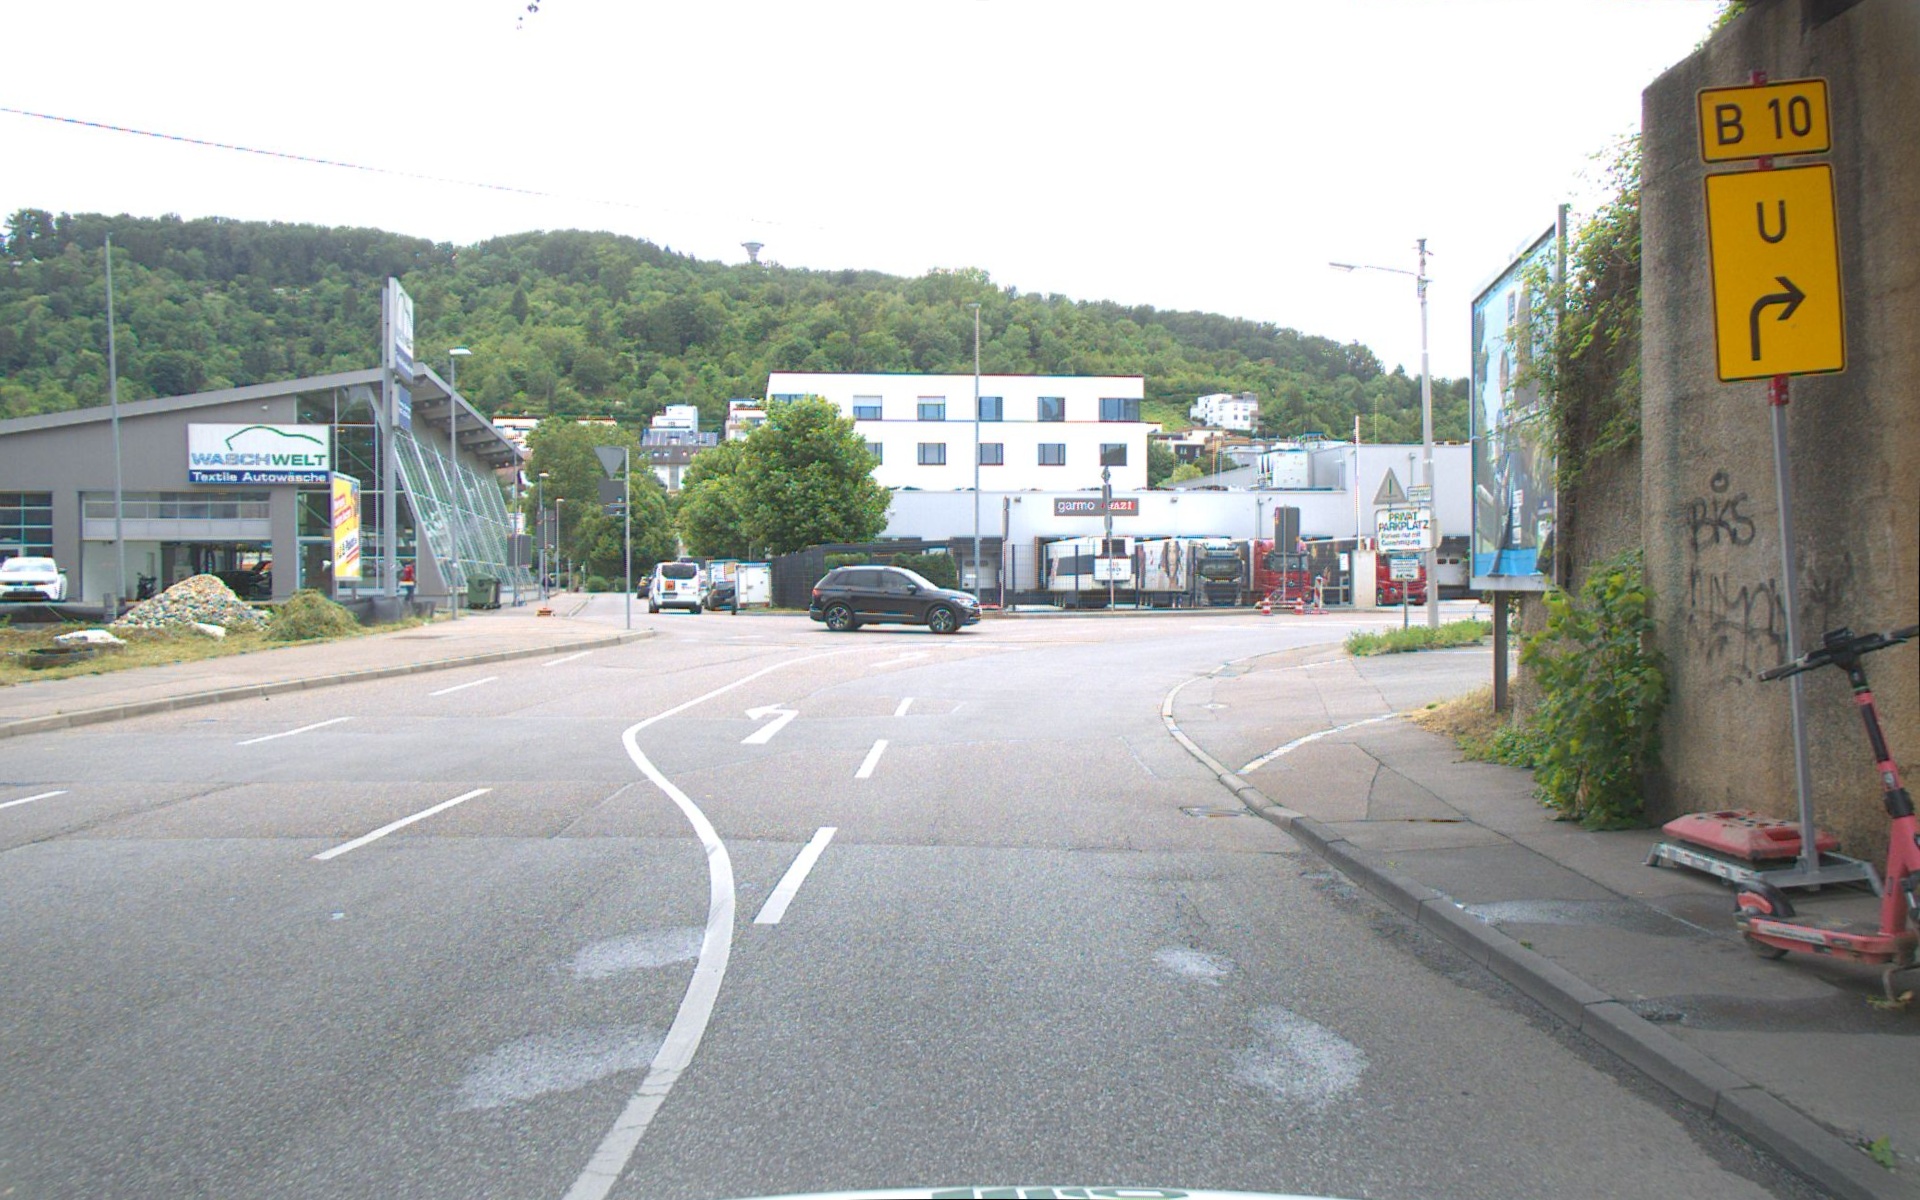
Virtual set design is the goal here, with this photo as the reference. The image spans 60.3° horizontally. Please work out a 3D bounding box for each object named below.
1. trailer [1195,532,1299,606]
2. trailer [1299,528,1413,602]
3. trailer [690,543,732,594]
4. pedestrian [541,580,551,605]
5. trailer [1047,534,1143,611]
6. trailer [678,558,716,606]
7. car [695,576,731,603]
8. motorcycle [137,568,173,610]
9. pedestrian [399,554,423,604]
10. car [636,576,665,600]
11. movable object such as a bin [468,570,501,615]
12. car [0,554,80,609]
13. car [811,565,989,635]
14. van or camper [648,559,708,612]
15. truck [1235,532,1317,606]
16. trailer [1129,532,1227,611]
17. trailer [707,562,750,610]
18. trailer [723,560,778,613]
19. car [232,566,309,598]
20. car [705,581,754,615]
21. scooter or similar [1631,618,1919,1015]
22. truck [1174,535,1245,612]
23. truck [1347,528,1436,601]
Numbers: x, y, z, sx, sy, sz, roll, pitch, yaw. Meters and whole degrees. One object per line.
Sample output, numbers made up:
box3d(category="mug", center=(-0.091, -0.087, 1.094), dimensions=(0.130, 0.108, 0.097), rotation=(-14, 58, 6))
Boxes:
box3d(category="trailer", center=(16.720, -1.739, 97.342), dimensions=(2.731, 4.149, 10.974), rotation=(0, 0, -9))
box3d(category="trailer", center=(23.415, -1.987, 98.508), dimensions=(2.731, 4.149, 10.974), rotation=(0, 0, -9))
box3d(category="trailer", center=(-19.262, -2.402, 127.541), dimensions=(3.013, 3.825, 4.921), rotation=(0, 1, -11))
box3d(category="pedestrian", center=(-27.815, -0.486, 111.152), dimensions=(0.617, 1.702, 0.755), rotation=(0, 0, -15))
box3d(category="trailer", center=(7.666, -1.515, 95.719), dimensions=(3.024, 4.149, 11.387), rotation=(0, 0, -9))
box3d(category="trailer", center=(-16.775, -1.134, 105.300), dimensions=(2.238, 3.004, 3.990), rotation=(0, 1, -11))
box3d(category="car", center=(-14.156, -0.620, 94.722), dimensions=(1.957, 1.534, 3.992), rotation=(0, 1, -9))
box3d(category="motorcycle", center=(-33.611, -0.451, 69.078), dimensions=(0.825, 1.740, 2.356), rotation=(0, 0, -13))
box3d(category="pedestrian", center=(-21.034, -0.807, 63.355), dimensions=(0.814, 1.900, 0.713), rotation=(-1, 1, -23))
box3d(category="car", center=(-23.245, -0.902, 124.361), dimensions=(1.956, 1.713, 3.992), rotation=(0, 0, -9))
box3d(category="movable object such as a bin", center=(-19.164, -0.315, 66.699), dimensions=(1.121, 1.788, 1.057), rotation=(0, 0, -9))
box3d(category="car", center=(-27.135, -0.536, 48.655), dimensions=(1.968, 1.562, 3.968), rotation=(0, 0, -25))
box3d(category="car", center=(-1.498, -0.001, 42.384), dimensions=(4.264, 1.713, 2.002), rotation=(0, 0, 8))
box3d(category="van or camper", center=(-11.606, -0.575, 67.784), dimensions=(2.064, 2.119, 4.188), rotation=(0, 0, -15))
box3d(category="truck", center=(17.534, -1.665, 92.057), dimensions=(2.741, 3.997, 5.914), rotation=(0, 0, -8))
box3d(category="trailer", center=(12.648, -1.587, 97.114), dimensions=(2.731, 4.376, 11.160), rotation=(0, 0, -9))
box3d(category="trailer", center=(-11.726, -0.712, 83.749), dimensions=(1.958, 2.384, 3.990), rotation=(0, 1, -11))
box3d(category="trailer", center=(-8.437, -0.566, 66.288), dimensions=(1.958, 2.049, 3.990), rotation=(0, 1, -11))
box3d(category="car", center=(-38.833, -1.018, 93.236), dimensions=(3.931, 1.758, 1.987), rotation=(0, 0, -22))
box3d(category="car", center=(-10.933, -0.110, 78.242), dimensions=(1.959, 1.534, 4.169), rotation=(0, 1, -13))
box3d(category="scooter or similar", center=(3.220, 0.719, 6.019), dimensions=(0.495, 1.257, 1.664), rotation=(-4, 1, -14))
box3d(category="truck", center=(13.618, -1.401, 90.517), dimensions=(2.741, 4.110, 4.157), rotation=(0, 0, -8))
box3d(category="truck", center=(24.216, -1.946, 93.097), dimensions=(2.741, 3.997, 5.914), rotation=(0, 0, -8))
